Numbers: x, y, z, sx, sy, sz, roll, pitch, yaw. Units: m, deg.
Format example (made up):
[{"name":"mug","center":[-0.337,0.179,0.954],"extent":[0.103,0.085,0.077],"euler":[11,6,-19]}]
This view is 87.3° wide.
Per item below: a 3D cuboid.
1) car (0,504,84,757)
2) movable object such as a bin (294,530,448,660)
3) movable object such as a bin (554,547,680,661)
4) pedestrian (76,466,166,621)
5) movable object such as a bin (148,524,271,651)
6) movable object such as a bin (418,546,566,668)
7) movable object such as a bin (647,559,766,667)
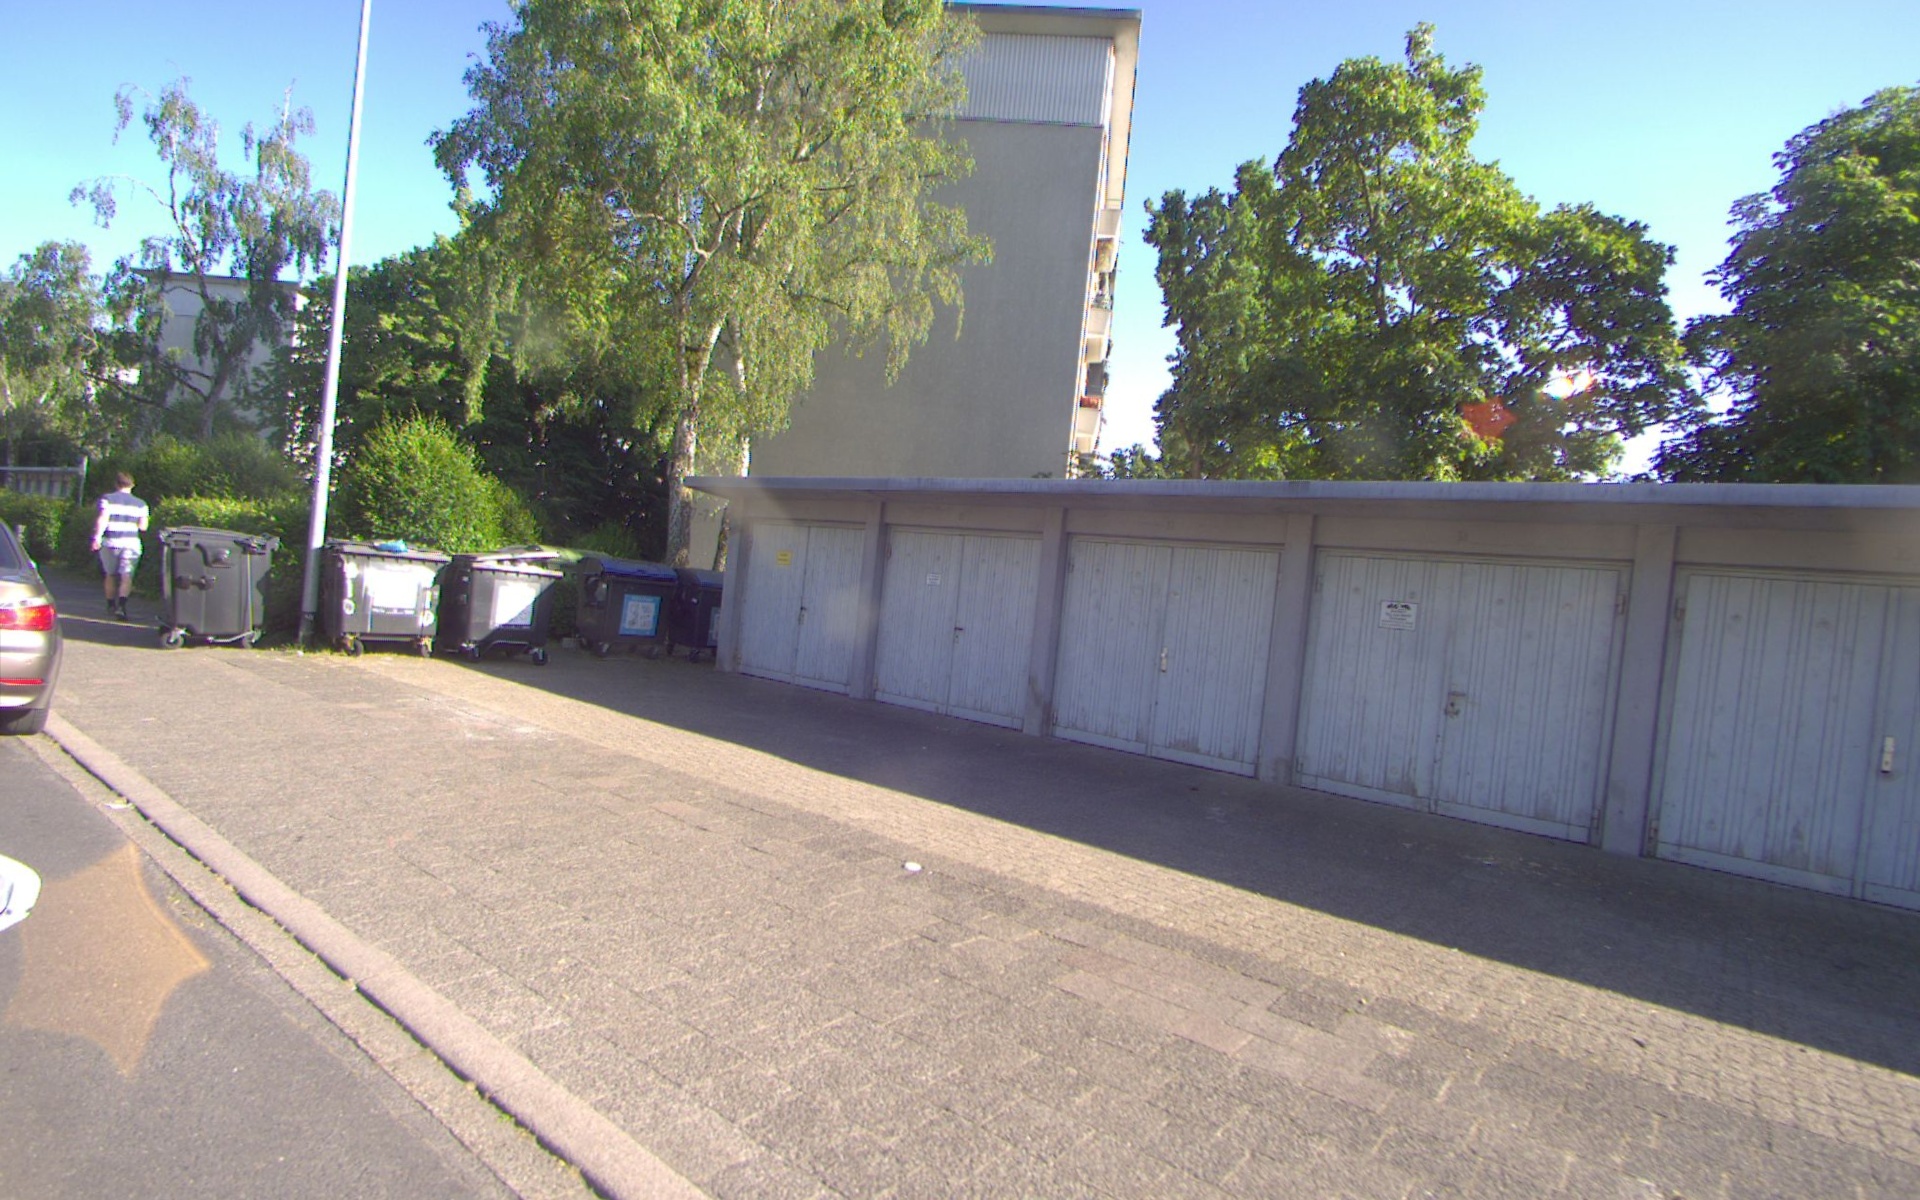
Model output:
[{"name":"car","center":[-7.568,-0.056,6.745],"extent":[4.570,1.436,1.799],"euler":[6,-1,40]},{"name":"movable object such as a bin","center":[-7.038,-0.056,12.035],"extent":[1.117,1.382,1.221],"euler":[6,1,42]},{"name":"movable object such as a bin","center":[-5.196,0.075,15.230],"extent":[1.117,1.485,1.274],"euler":[11,4,42]},{"name":"pedestrian","center":[-10.825,-0.724,12.977],"extent":[0.860,1.914,0.701],"euler":[7,3,39]},{"name":"movable object such as a bin","center":[-8.647,-0.154,11.572],"extent":[1.021,1.328,1.371],"euler":[2,4,-41]},{"name":"movable object such as a bin","center":[-5.951,0.094,12.807],"extent":[1.117,1.382,1.274],"euler":[6,1,42]},{"name":"movable object such as a bin","center":[-4.025,0.209,15.990],"extent":[1.117,1.485,1.274],"euler":[11,4,42]}]
